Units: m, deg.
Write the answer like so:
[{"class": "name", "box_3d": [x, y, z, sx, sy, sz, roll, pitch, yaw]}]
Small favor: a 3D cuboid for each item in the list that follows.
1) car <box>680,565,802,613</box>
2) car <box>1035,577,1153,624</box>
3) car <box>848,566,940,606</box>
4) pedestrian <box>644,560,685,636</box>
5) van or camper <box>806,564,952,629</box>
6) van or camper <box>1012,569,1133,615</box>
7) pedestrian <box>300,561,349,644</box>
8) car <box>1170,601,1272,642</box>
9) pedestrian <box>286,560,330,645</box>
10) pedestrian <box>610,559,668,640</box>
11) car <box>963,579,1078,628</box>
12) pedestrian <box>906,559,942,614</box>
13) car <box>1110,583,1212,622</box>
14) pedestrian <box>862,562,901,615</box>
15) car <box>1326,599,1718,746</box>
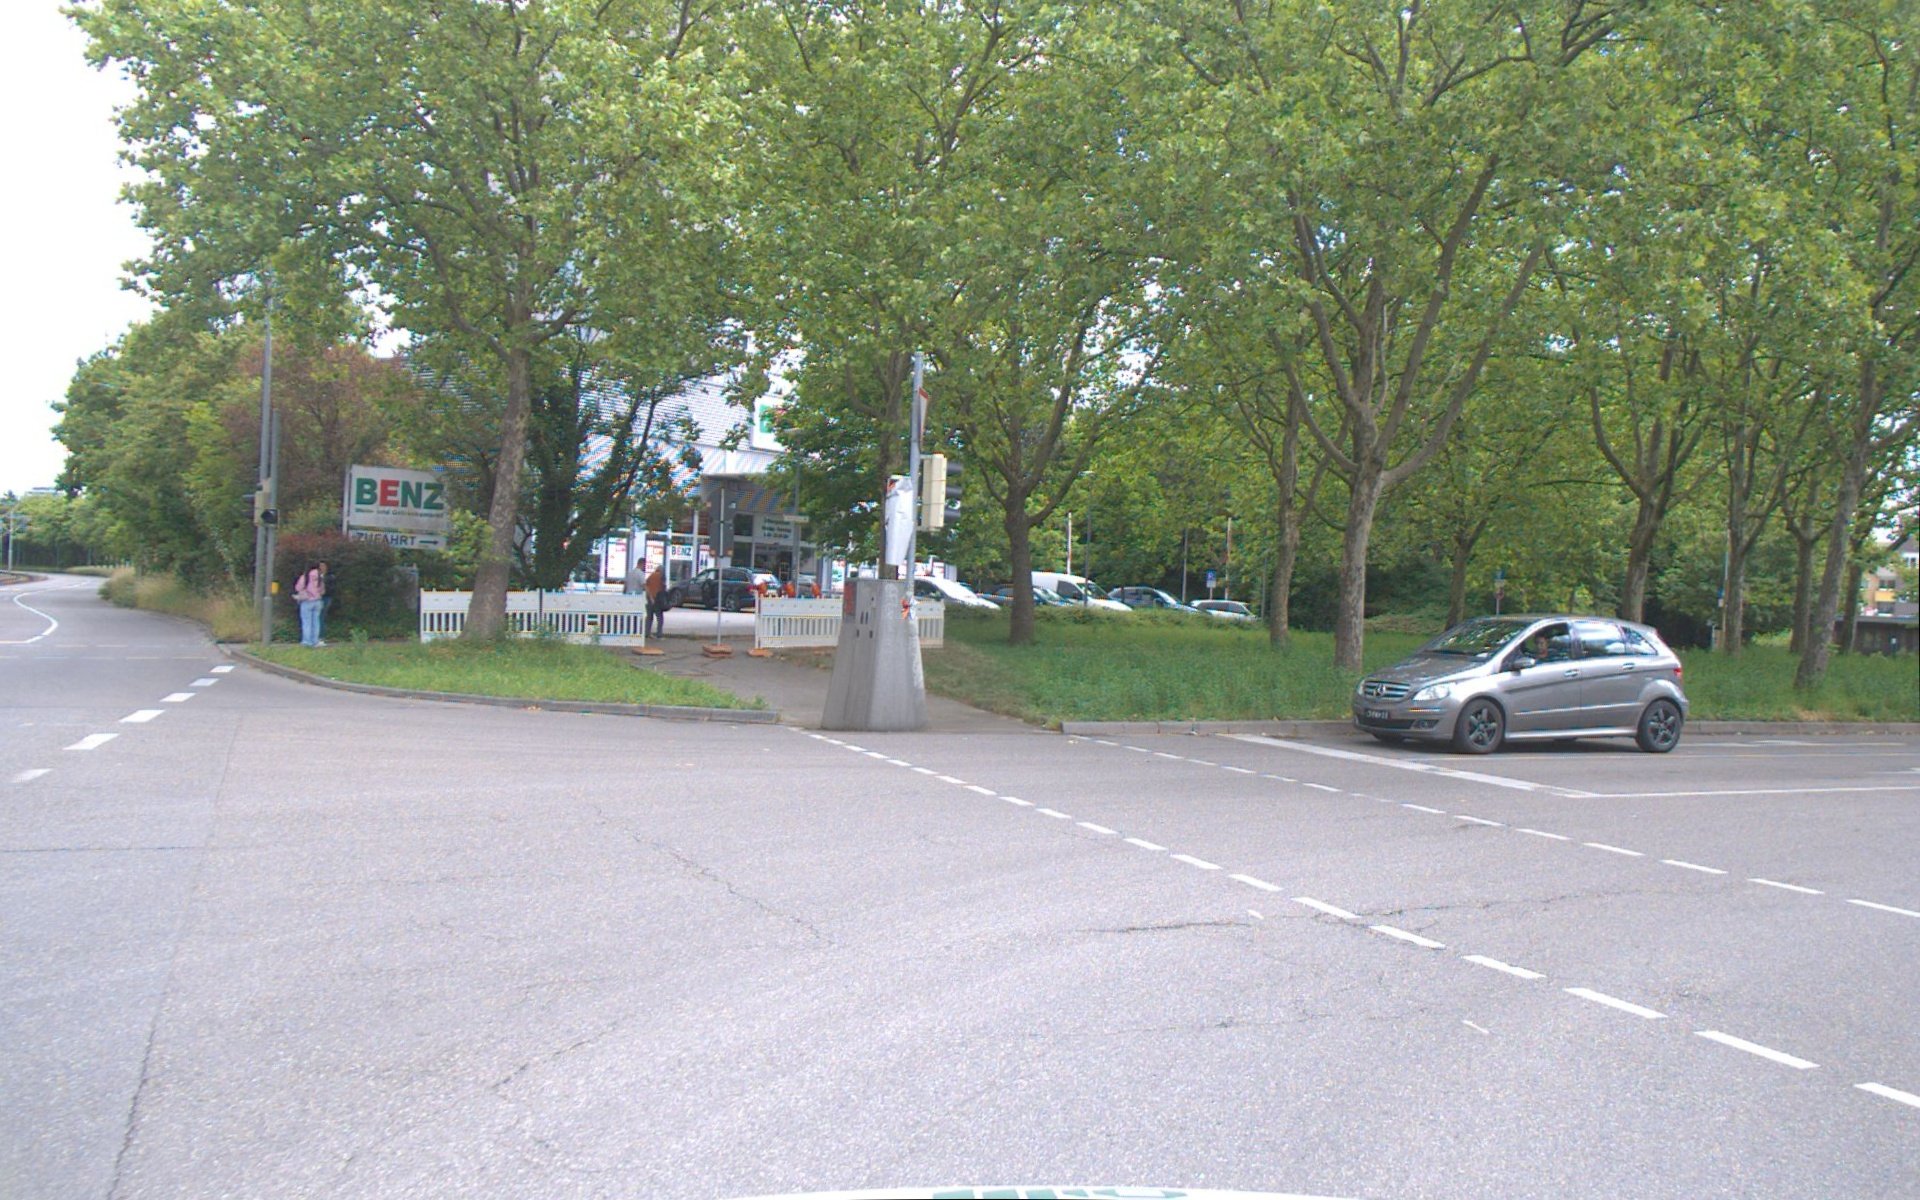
[{"class": "car", "box_3d": [-7.390, -0.379, 55.612, 4.192, 1.526, 1.724, 1, -1, 42]}, {"class": "car", "box_3d": [4.570, 0.002, 56.705, 3.816, 1.491, 1.478, 1, -1, 37]}, {"class": "car", "box_3d": [-2.559, -0.543, 63.795, 3.342, 1.429, 1.478, 1, -1, 37]}, {"class": "pedestrian", "box_3d": [-6.278, -0.042, 35.152, 0.755, 1.565, 0.654, 2, -1, -5]}, {"class": "van or camper", "box_3d": [-2.298, -0.114, 46.422, 3.927, 1.713, 1.836, 2, 1, 41]}, {"class": "van or camper", "box_3d": [3.664, -0.269, 54.003, 3.699, 1.380, 1.513, 1, -1, 35]}, {"class": "pedestrian", "box_3d": [-11.921, 0.049, 31.051, 0.705, 1.515, 0.697, 2, -1, -13]}, {"class": "car", "box_3d": [10.367, 0.859, 65.785, 3.678, 1.526, 1.724, 1, -1, 42]}, {"class": "pedestrian", "box_3d": [-11.907, 0.052, 30.217, 0.675, 1.515, 0.695, 2, -1, -19]}, {"class": "pedestrian", "box_3d": [-6.595, -0.002, 33.989, 0.777, 1.614, 0.851, 1, -1, 24]}, {"class": "car", "box_3d": [1.851, 0.088, 51.329, 3.344, 1.429, 1.478, 1, -1, 39]}, {"class": "pedestrian", "box_3d": [-1.085, -0.401, 50.076, 0.785, 1.614, 0.791, 2, -1, -31]}, {"class": "car", "box_3d": [7.135, 0.074, 58.721, 3.184, 1.277, 1.688, 1, -1, 37]}, {"class": "pedestrian", "box_3d": [-2.876, -0.405, 60.605, 1.059, 1.904, 1.051, 2, -1, -26]}, {"class": "car", "box_3d": [6.709, 0.862, 19.757, 4.335, 1.614, 1.761, 2, -1, -22]}]
